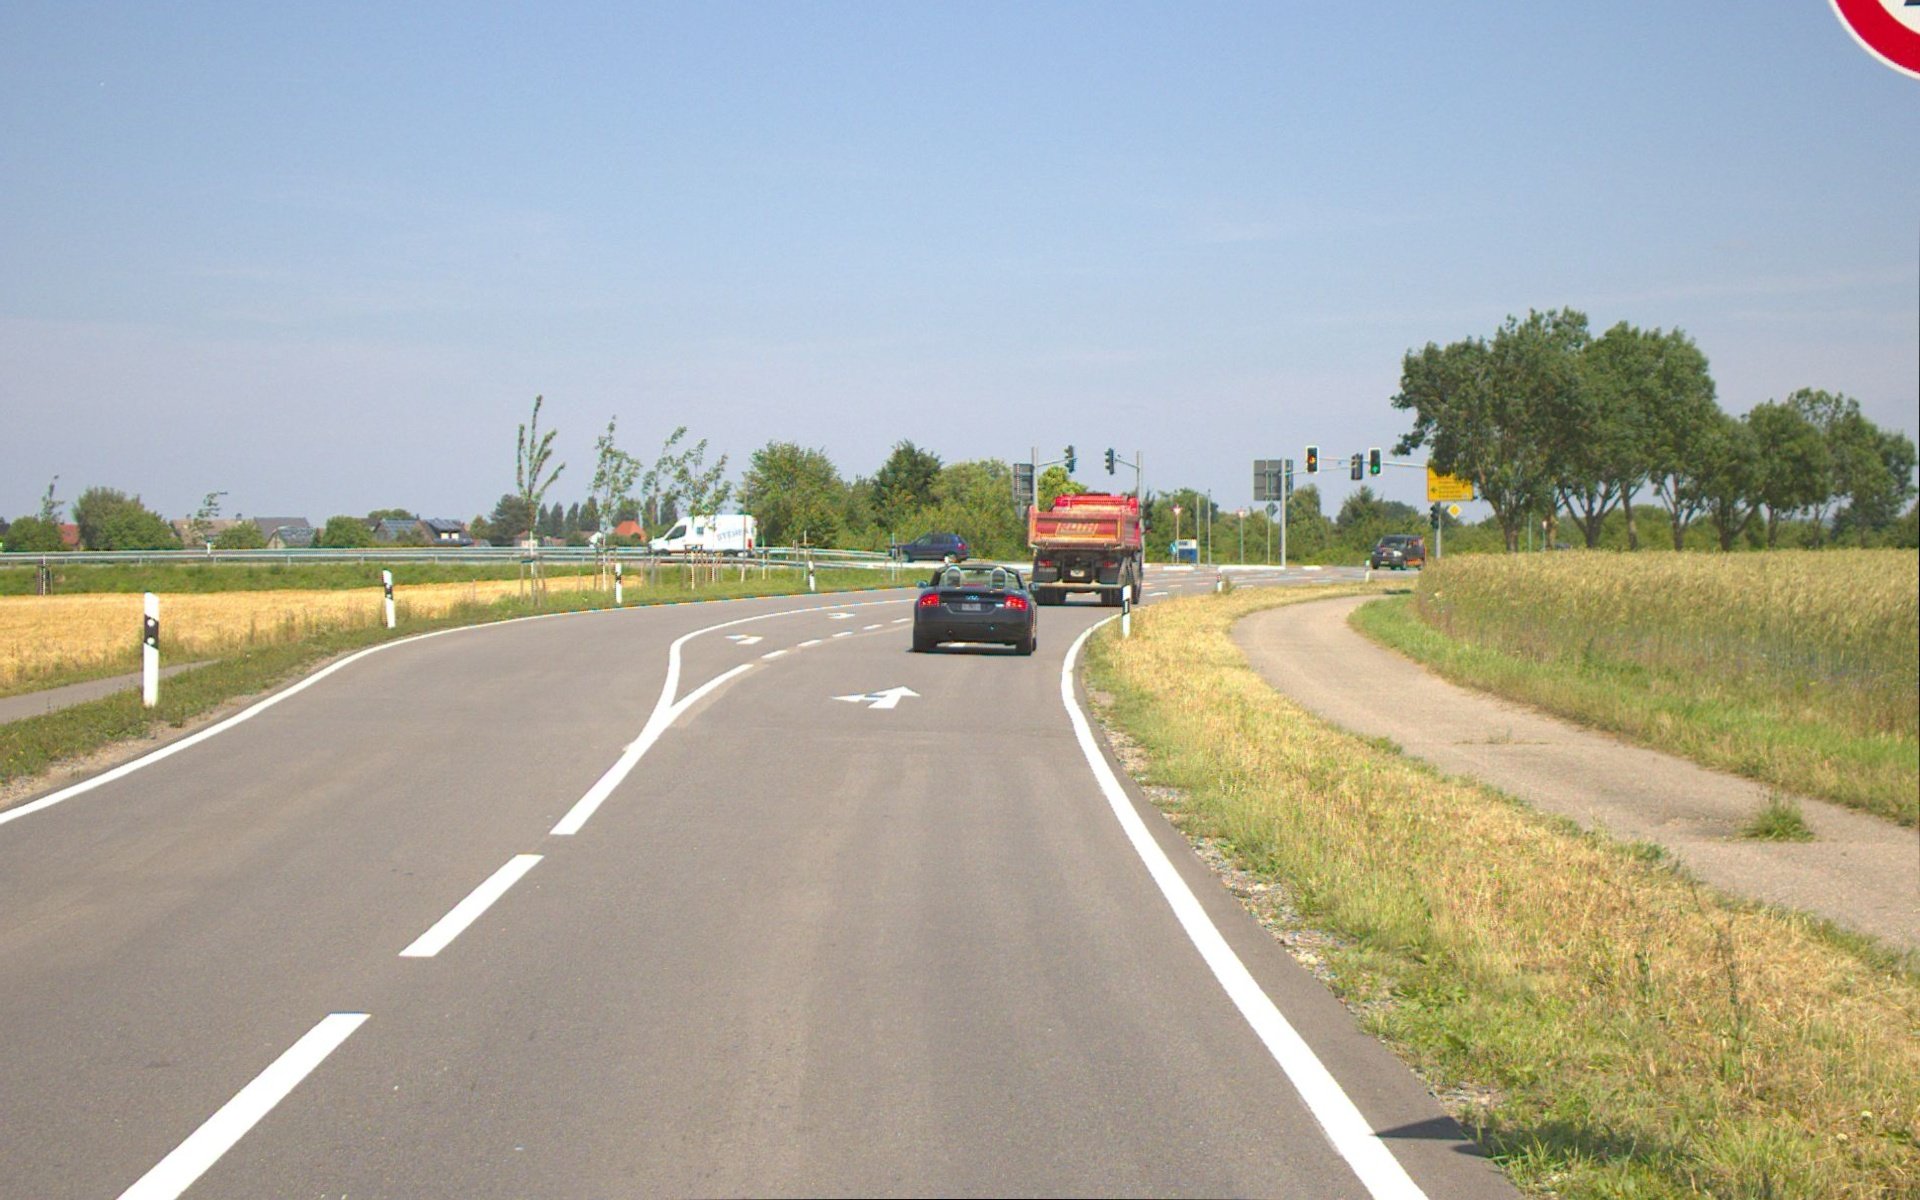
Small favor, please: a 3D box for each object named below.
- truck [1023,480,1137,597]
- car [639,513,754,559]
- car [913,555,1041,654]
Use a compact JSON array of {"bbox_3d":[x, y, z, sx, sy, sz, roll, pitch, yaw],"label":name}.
[{"bbox_3d":[3.364,-1.614,94.373,2.714,3.042,8.163,1,0,5],"label":"truck"},{"bbox_3d":[-14.380,-3.508,187.522,5.919,2.413,2.247,1,1,6],"label":"car"},{"bbox_3d":[0.217,0.062,51.024,1.747,1.371,3.679,2,0,-1],"label":"car"}]
